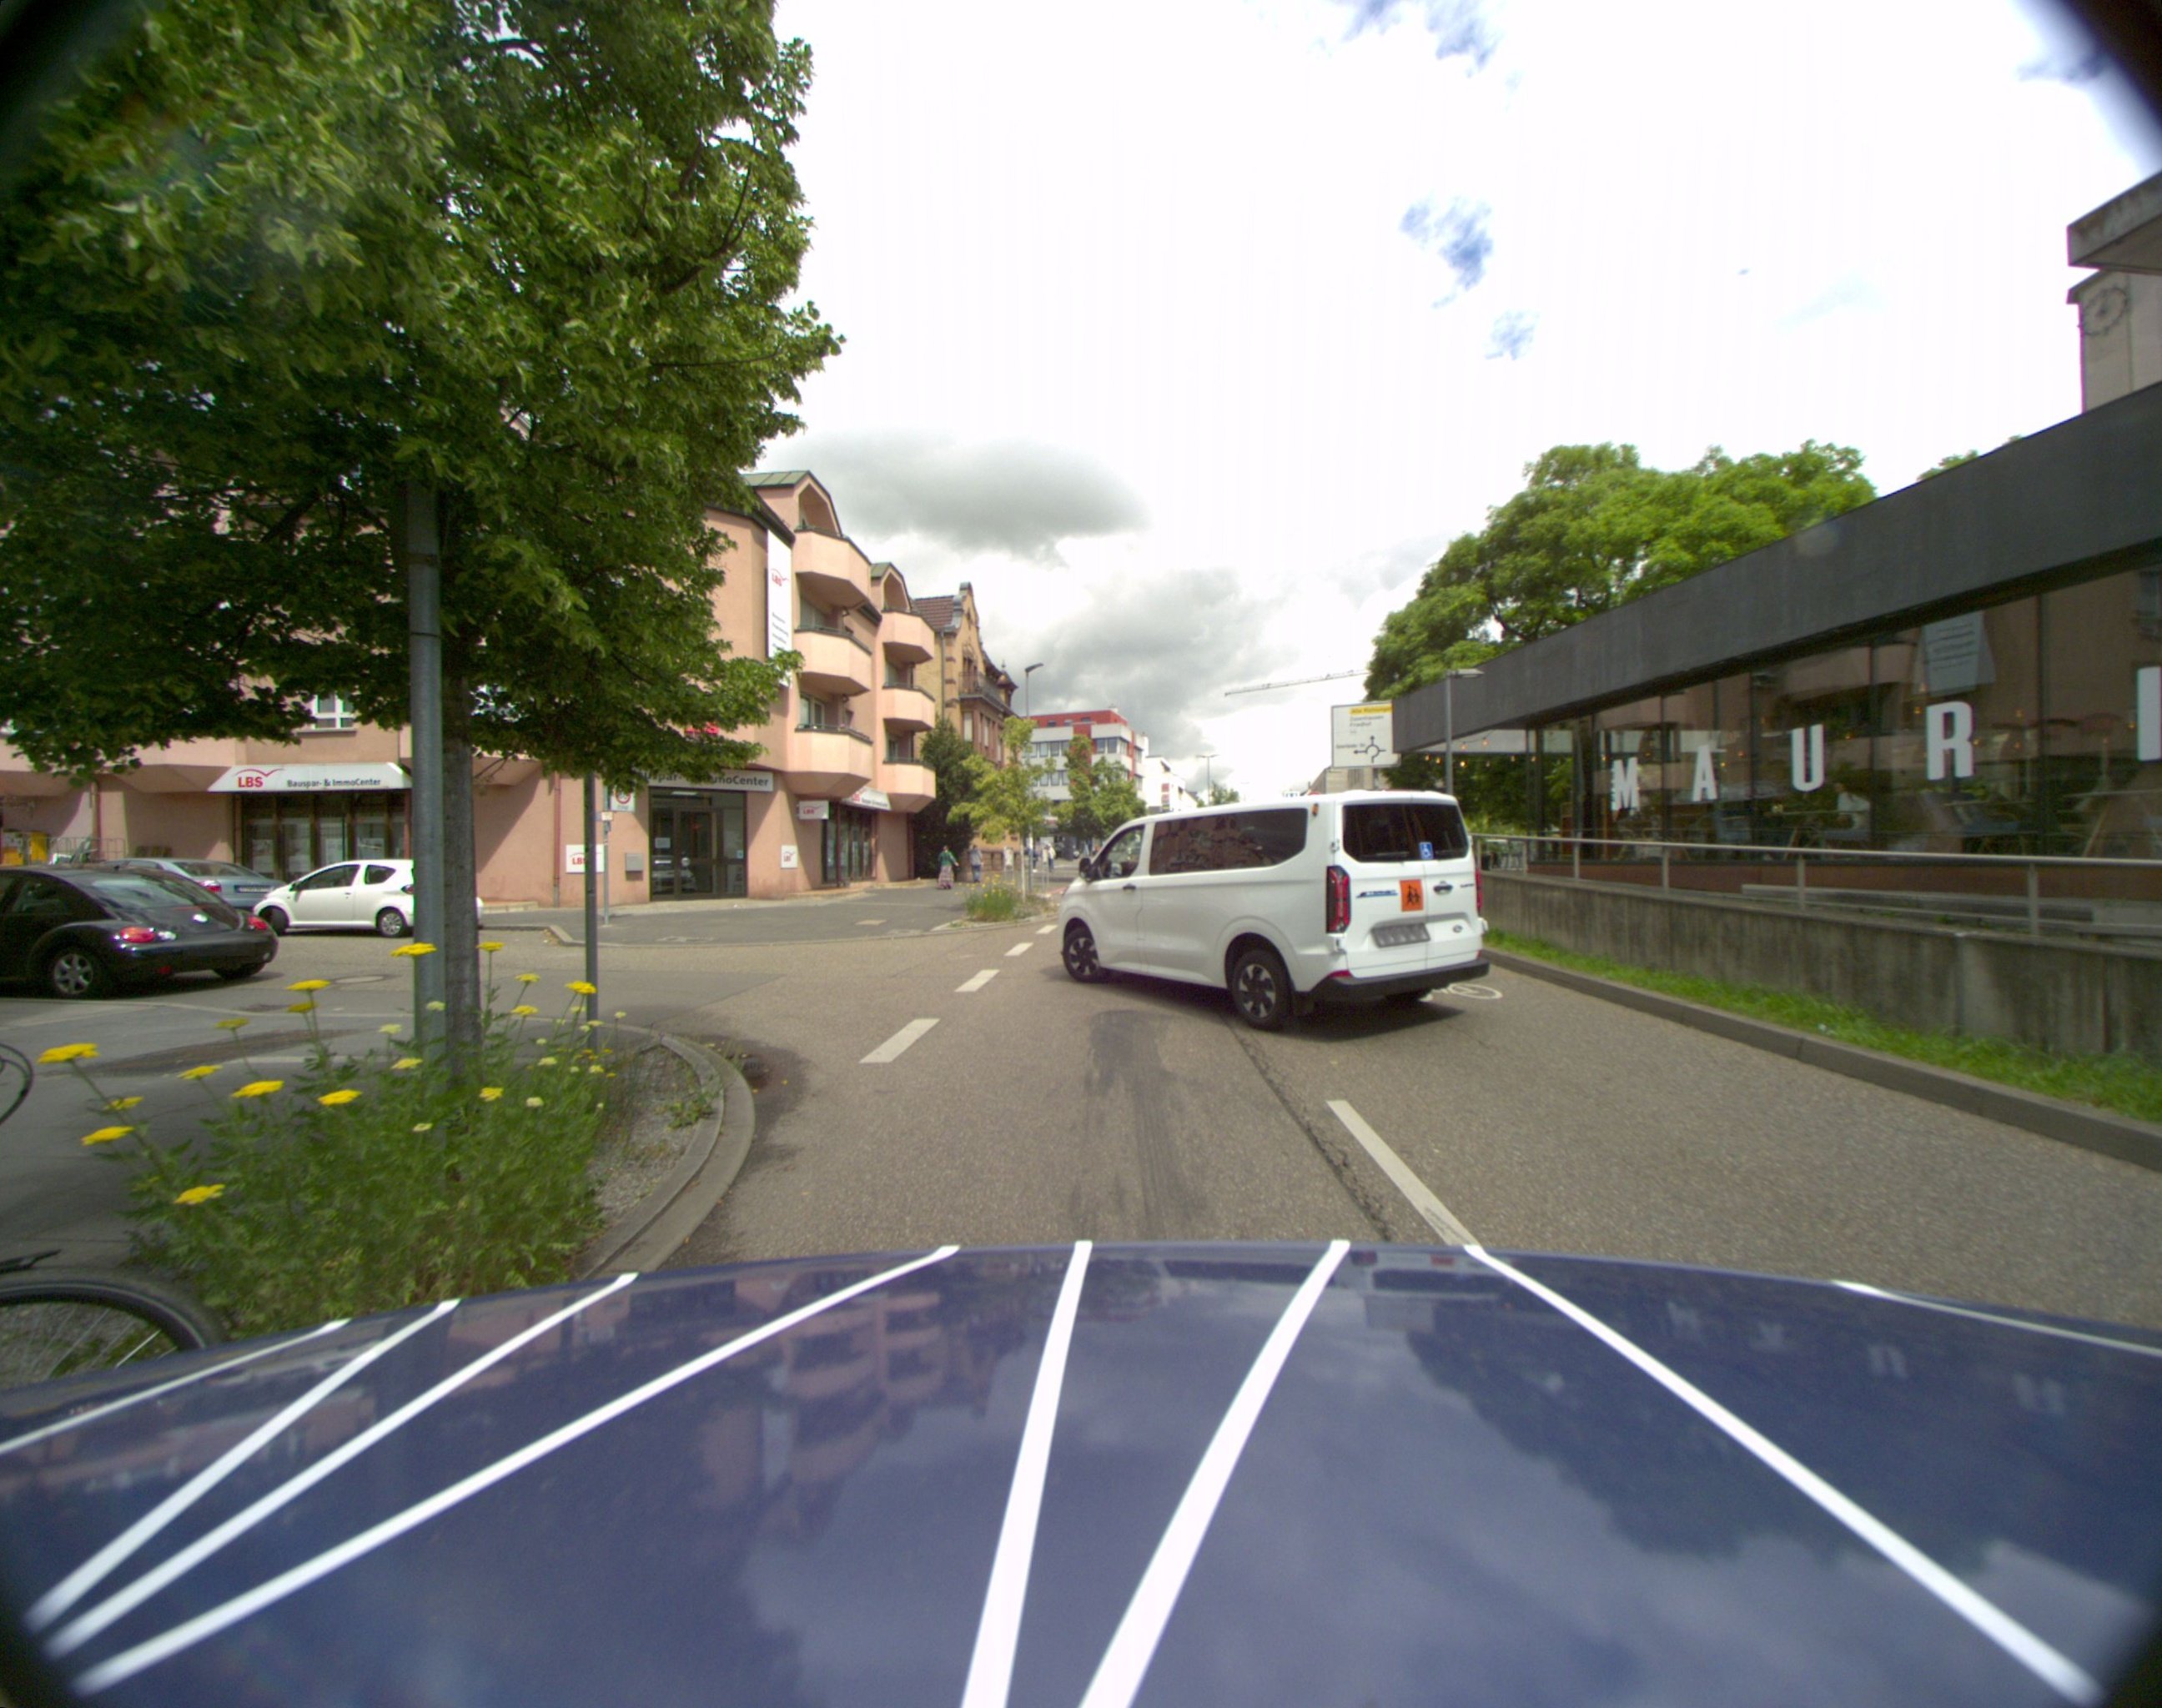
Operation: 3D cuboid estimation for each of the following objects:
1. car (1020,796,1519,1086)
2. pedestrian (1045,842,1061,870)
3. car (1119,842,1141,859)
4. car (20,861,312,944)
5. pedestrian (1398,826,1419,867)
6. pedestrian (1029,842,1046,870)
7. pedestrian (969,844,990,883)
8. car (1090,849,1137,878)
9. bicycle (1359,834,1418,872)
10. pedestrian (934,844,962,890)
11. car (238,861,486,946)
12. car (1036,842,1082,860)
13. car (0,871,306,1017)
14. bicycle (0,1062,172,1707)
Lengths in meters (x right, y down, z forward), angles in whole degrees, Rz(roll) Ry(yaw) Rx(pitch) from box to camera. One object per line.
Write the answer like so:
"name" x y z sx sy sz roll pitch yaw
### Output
"car" 1.396 0.615 8.110 2.003 2.002 5.382 -3 0 -28
"pedestrian" -1.694 0.100 45.899 0.696 1.649 0.741 -1 2 20
"car" 4.685 -0.362 73.452 1.804 1.571 3.999 -2 2 0
"car" -18.233 0.908 15.250 4.017 1.468 1.833 1 0 7
"pedestrian" 13.200 -0.274 30.656 0.661 1.619 0.801 -1 0 16
"pedestrian" -2.610 0.131 45.807 0.738 1.630 0.677 -1 2 34
"pedestrian" -4.393 0.391 33.039 0.717 1.676 0.944 0 2 5
"car" 1.824 0.458 41.035 1.997 1.406 4.738 0 1 9
"bicycle" 9.140 -0.024 22.630 1.549 1.121 0.534 0 1 9
"pedestrian" -4.855 0.469 27.789 0.745 1.629 0.928 1 1 7
"car" -13.830 0.893 14.734 3.387 1.468 1.719 1 0 7
"car" -2.125 -0.304 74.295 3.993 1.641 2.002 -2 1 14
"car" -12.136 0.992 9.099 3.903 1.468 1.783 1 0 1
"bicycle" -3.025 1.074 1.394 1.827 1.194 0.756 0 1 2
